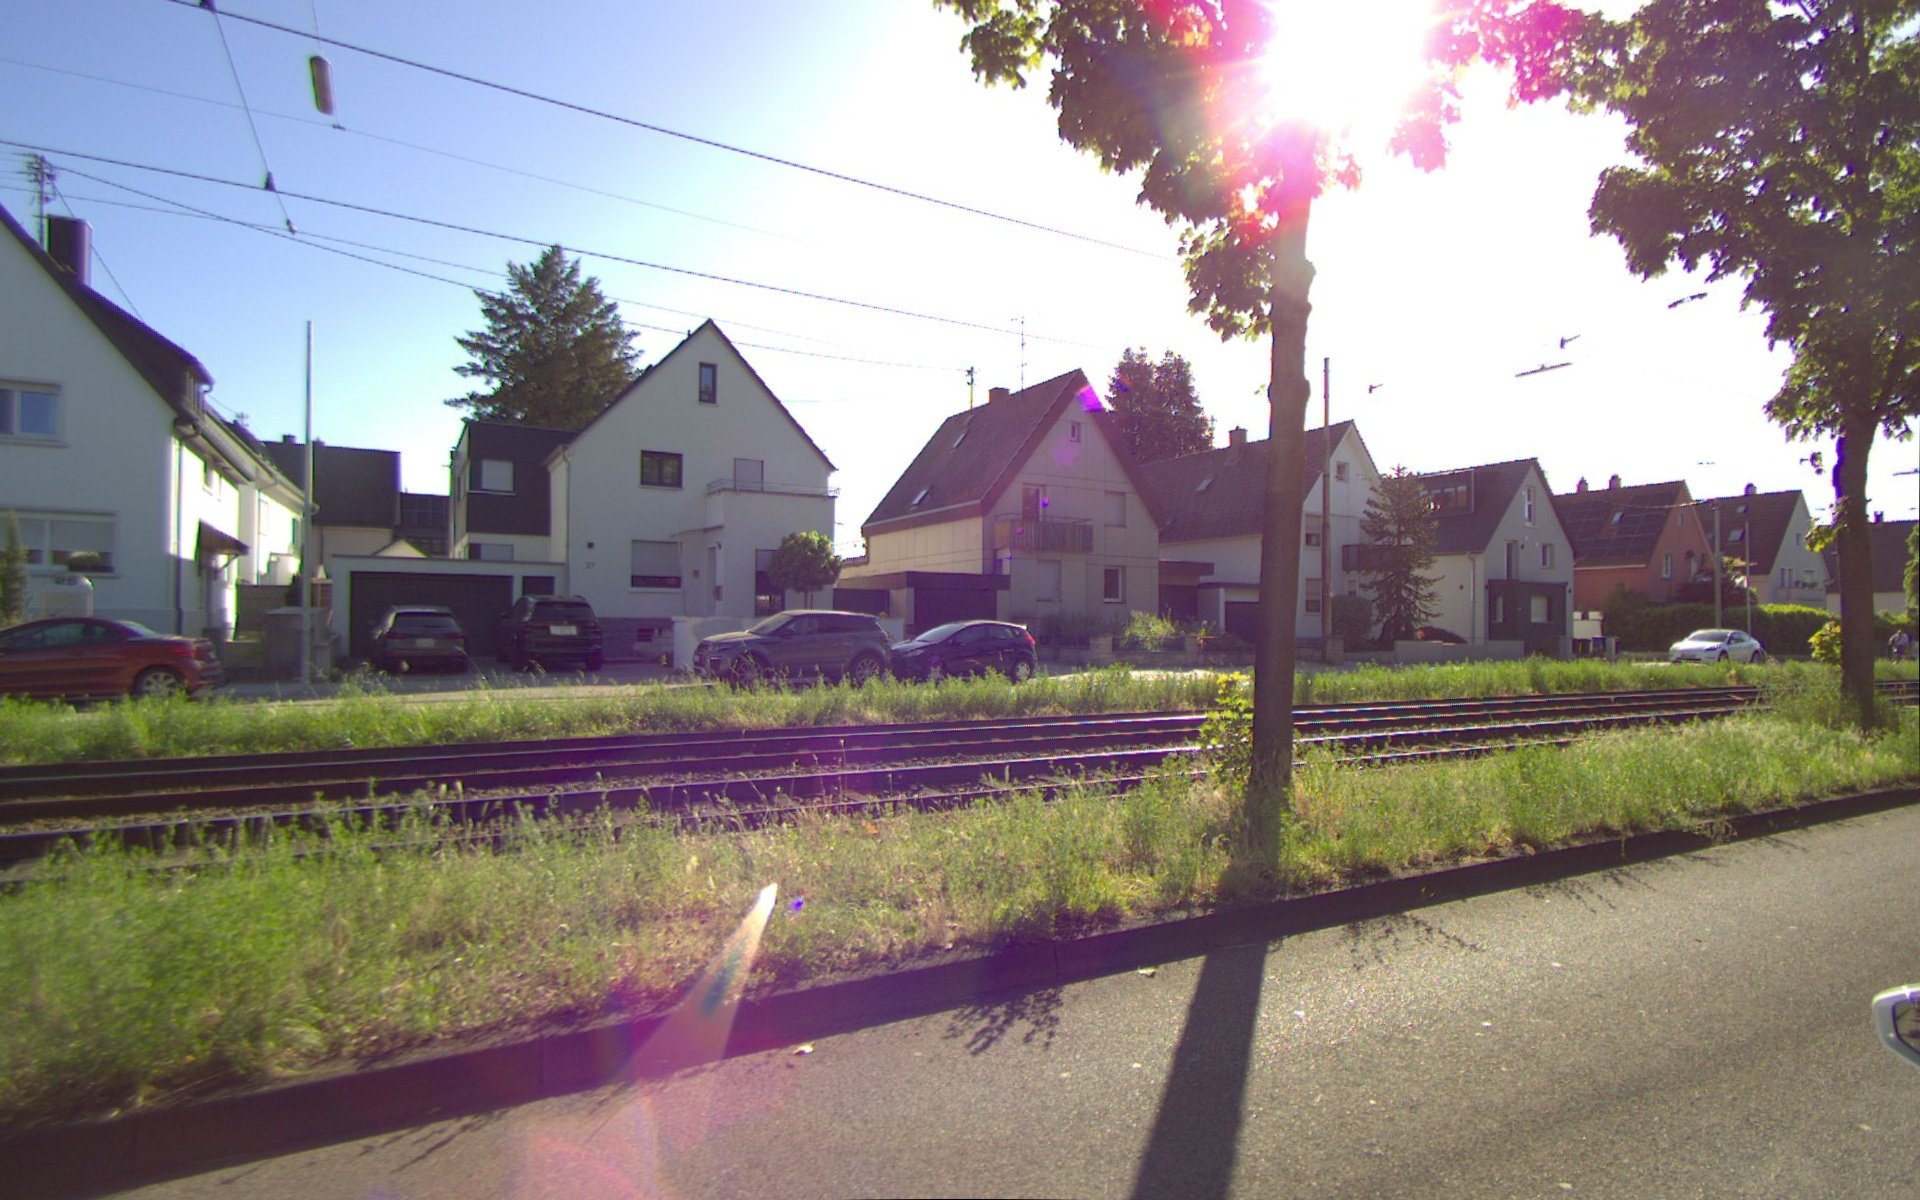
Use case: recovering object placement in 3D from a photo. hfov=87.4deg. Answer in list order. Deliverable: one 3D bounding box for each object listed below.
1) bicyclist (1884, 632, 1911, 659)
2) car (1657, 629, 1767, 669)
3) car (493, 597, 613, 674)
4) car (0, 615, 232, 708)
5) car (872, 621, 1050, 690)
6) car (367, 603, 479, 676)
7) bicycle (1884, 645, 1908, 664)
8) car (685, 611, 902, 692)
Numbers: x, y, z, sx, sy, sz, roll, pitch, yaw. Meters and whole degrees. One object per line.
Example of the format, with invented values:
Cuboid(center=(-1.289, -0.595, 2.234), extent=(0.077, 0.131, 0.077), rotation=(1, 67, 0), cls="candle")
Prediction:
Cuboid(center=(45.189, 2.197, 48.432), extent=(0.729, 1.295, 0.794), rotation=(2, 0, -33), cls="bicyclist")
Cuboid(center=(33.046, 2.159, 44.122), extent=(4.670, 1.620, 1.986), rotation=(2, 0, -27), cls="car")
Cuboid(center=(-10.029, 0.815, 24.584), extent=(1.979, 1.691, 3.963), rotation=(2, 0, -33), cls="car")
Cuboid(center=(-13.988, 0.937, 15.758), extent=(3.951, 1.344, 1.487), rotation=(2, 0, -29), cls="car")
Cuboid(center=(0.054, 1.293, 23.832), extent=(3.942, 1.470, 1.606), rotation=(2, 0, -30), cls="car")
Cuboid(center=(-12.505, 0.862, 23.256), extent=(1.917, 1.483, 4.188), rotation=(2, 0, -33), cls="car")
Cuboid(center=(45.148, 2.621, 48.443), extent=(2.040, 0.913, 0.438), rotation=(2, 0, -35), cls="bicycle")
Cuboid(center=(-3.572, 1.096, 21.733), extent=(4.333, 1.589, 1.637), rotation=(2, 0, -29), cls="car")
